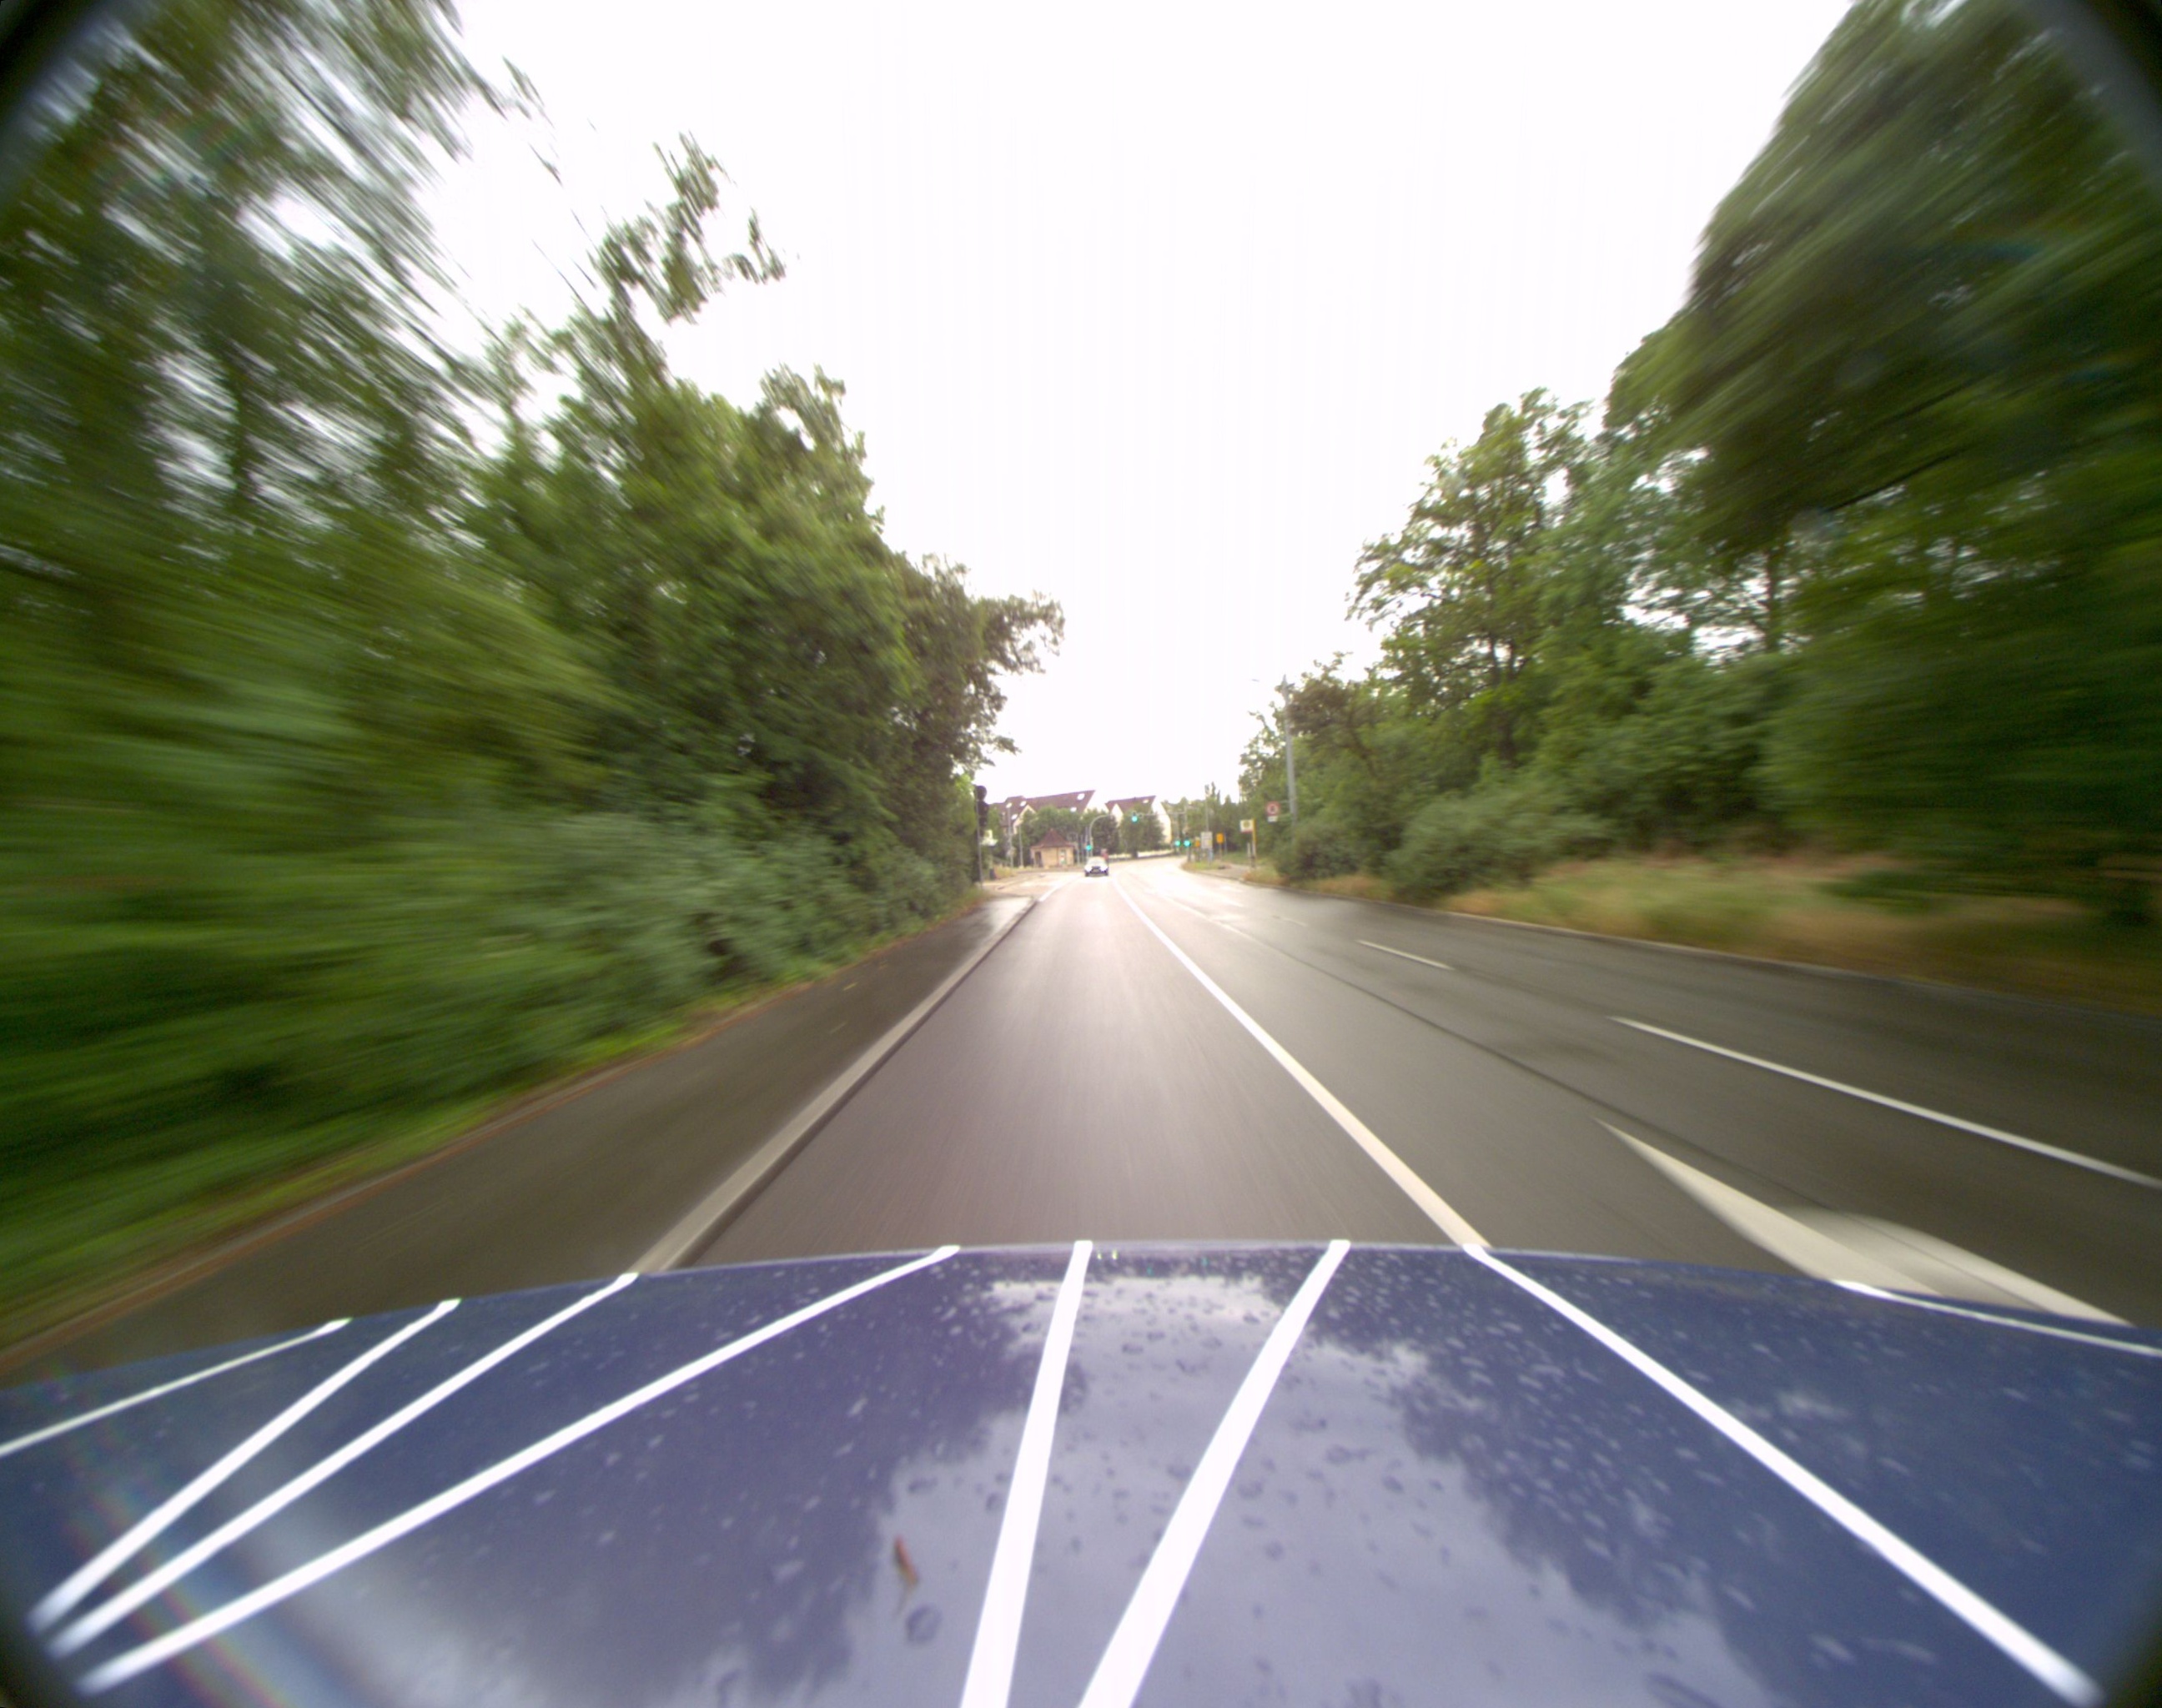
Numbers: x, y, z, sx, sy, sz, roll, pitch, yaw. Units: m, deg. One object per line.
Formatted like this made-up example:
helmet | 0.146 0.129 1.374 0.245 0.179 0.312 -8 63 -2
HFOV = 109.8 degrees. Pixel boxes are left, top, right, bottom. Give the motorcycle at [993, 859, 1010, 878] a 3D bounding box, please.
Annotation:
motorcycle | -5.692 1.015 54.305 0.589 1.281 1.539 -3 1 18

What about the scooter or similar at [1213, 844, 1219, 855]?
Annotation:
scooter or similar | 15.375 -0.505 86.655 0.518 1.205 1.470 -4 1 12

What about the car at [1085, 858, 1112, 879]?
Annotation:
car | 1.391 1.111 59.787 1.945 1.446 4.603 -3 1 1
